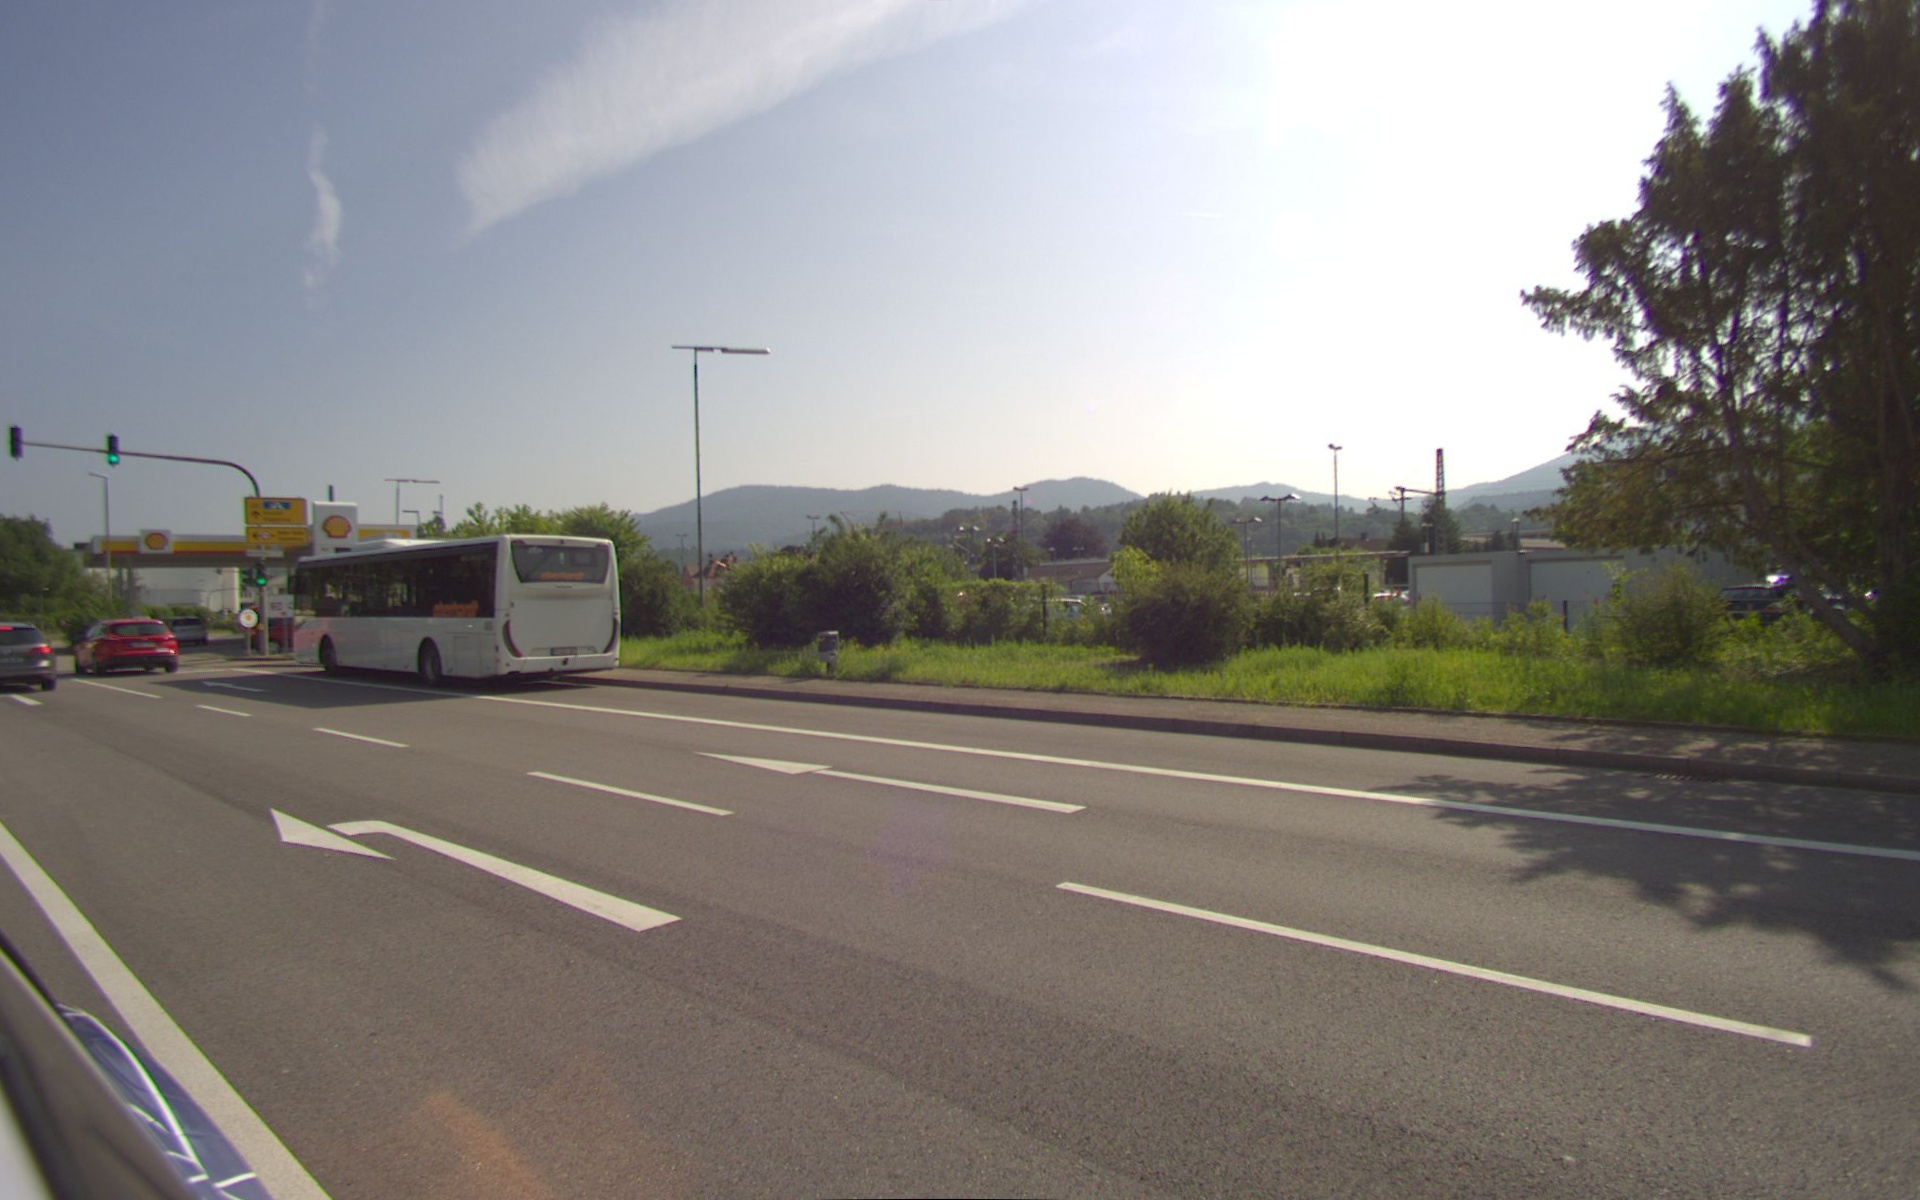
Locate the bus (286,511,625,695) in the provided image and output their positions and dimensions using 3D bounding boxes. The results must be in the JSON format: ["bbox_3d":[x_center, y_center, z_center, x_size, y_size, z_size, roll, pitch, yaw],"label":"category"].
[{"bbox_3d":[-12.105,0.114,23.303,11.950,3.335,2.593,-1,0,41],"label":"bus"}]

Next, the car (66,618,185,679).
[{"bbox_3d":[-22.907,1.257,27.722,4.429,1.503,1.818,-1,0,41],"label":"car"}]

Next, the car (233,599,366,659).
[{"bbox_3d":[-24.262,1.020,37.254,3.732,1.808,1.703,-6,3,-44],"label":"car"}]

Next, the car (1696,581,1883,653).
[{"bbox_3d":[20.230,0.374,24.697,3.930,1.617,1.893,-1,0,-23],"label":"car"}]

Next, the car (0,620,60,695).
[{"bbox_3d":[-20.747,1.188,21.659,4.218,1.484,1.753,-1,0,42],"label":"car"}]
